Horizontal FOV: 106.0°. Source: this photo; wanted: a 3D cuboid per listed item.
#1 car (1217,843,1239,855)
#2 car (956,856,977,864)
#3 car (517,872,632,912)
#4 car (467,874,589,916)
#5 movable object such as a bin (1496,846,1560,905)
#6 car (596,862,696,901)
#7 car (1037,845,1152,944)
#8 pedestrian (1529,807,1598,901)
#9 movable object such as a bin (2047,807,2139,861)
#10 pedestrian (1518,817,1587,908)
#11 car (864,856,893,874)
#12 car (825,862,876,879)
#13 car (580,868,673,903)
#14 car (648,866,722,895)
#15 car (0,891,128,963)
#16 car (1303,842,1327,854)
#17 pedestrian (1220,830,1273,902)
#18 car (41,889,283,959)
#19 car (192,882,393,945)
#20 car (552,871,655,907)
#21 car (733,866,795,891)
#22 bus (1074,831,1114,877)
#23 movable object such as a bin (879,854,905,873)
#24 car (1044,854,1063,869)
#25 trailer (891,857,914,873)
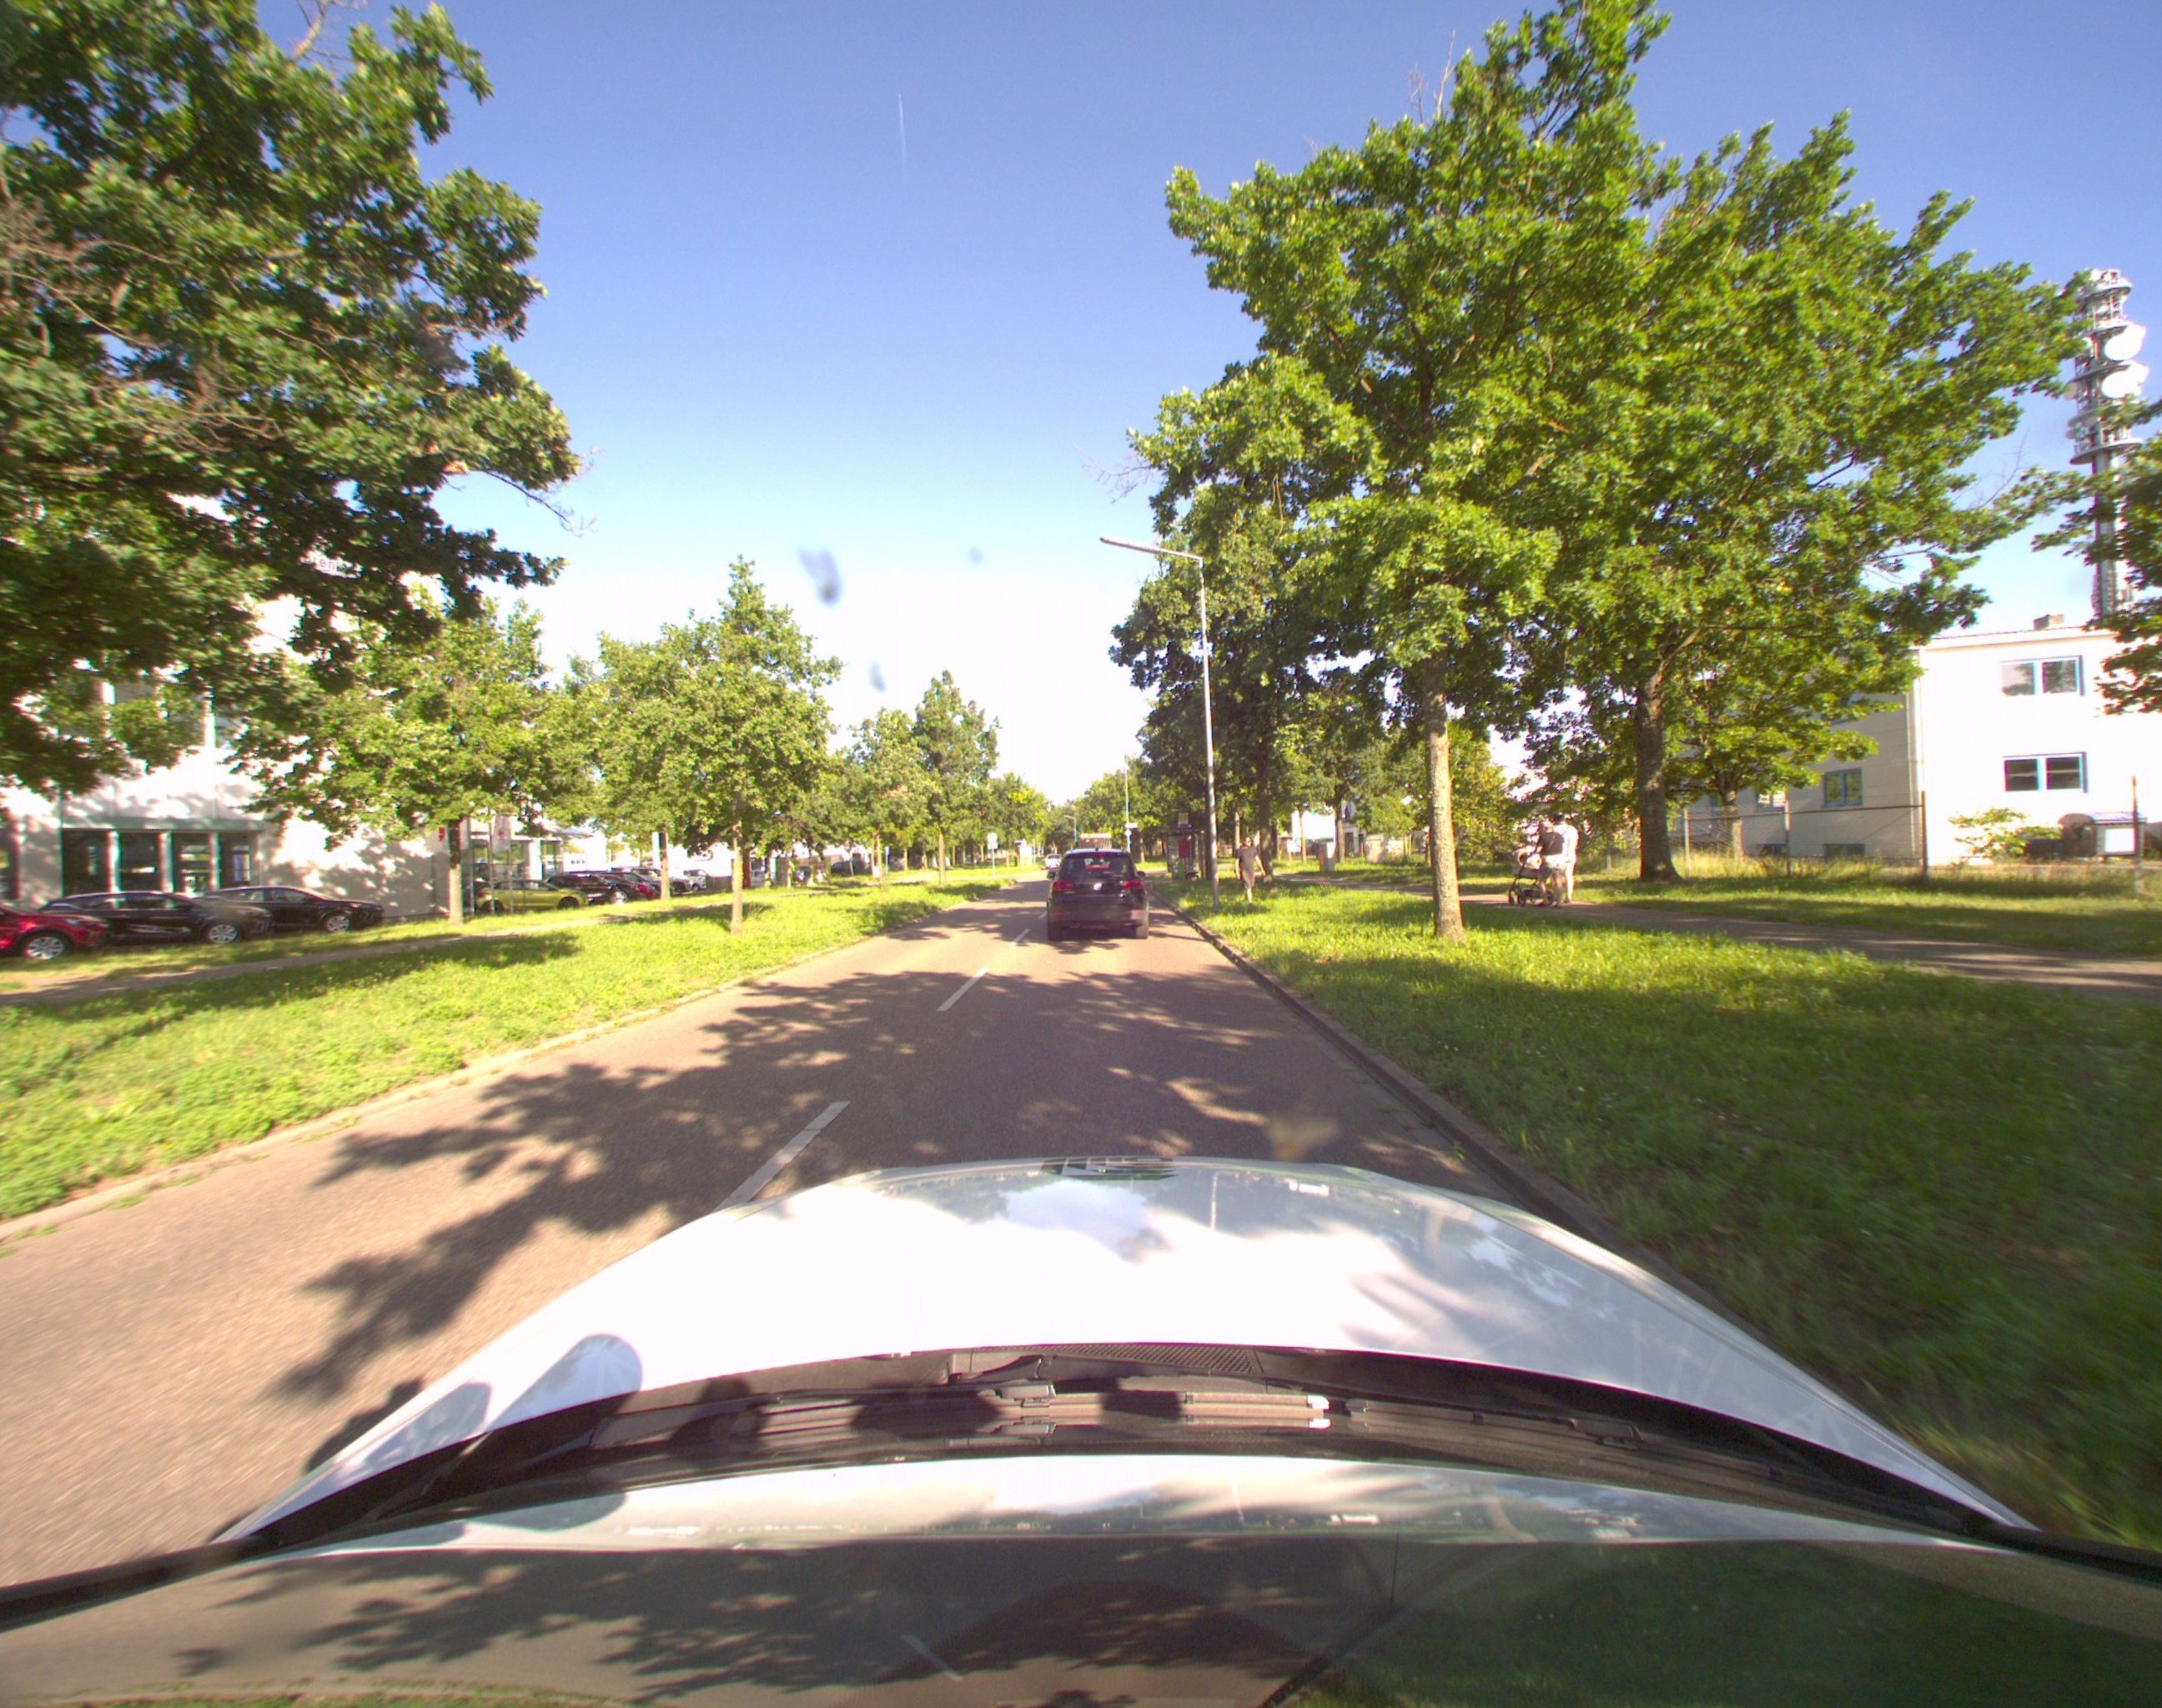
[{"bbox_3d":[22.572,-0.790,125.241,2.180,1.744,4.636,-2,0,-3],"label":"car"},{"bbox_3d":[-24.746,1.300,176.000,4.181,1.321,1.943,-2,0,3],"label":"car"},{"bbox_3d":[-23.000,1.689,37.056,4.192,1.538,1.874,-3,0,-40],"label":"car"},{"bbox_3d":[-22.943,1.662,33.848,3.974,1.401,1.976,-3,0,-40],"label":"car"},{"bbox_3d":[8.775,0.414,16.018,0.723,1.081,0.868,-4,0,1],"label":"movable object such as a bin"},{"bbox_3d":[-25.866,1.600,48.552,4.884,2.013,1.976,-3,0,-40],"label":"car"},{"bbox_3d":[0.298,0.669,16.091,1.929,1.656,4.429,-1,0,2],"label":"car"},{"bbox_3d":[9.473,0.004,16.025,0.723,1.755,0.868,-4,0,1],"label":"pedestrian"},{"bbox_3d":[28.042,-0.552,22.589,1.175,1.406,1.064,-3,0,18],"label":"movable object such as a bin"},{"bbox_3d":[8.743,0.156,15.140,0.723,1.603,0.868,-3,0,1],"label":"pedestrian"},{"bbox_3d":[-23.693,1.259,95.593,2.030,1.988,5.803,-3,0,-1],"label":"car"},{"bbox_3d":[-22.883,1.652,80.933,4.478,1.479,1.944,-3,0,5],"label":"car"},{"bbox_3d":[-24.286,1.652,43.613,4.183,1.562,1.981,-3,0,-30],"label":"car"},{"bbox_3d":[-29.759,1.979,61.204,4.970,1.906,1.950,-3,0,17],"label":"car"},{"bbox_3d":[-24.281,1.674,18.000,1.778,1.448,4.024,-3,0,44],"label":"car"},{"bbox_3d":[29.784,-0.745,103.874,1.761,1.383,3.762,-2,0,-4],"label":"car"},{"bbox_3d":[4.000,0.284,19.741,1.016,1.651,1.100,-3,0,1],"label":"pedestrian"},{"bbox_3d":[-24.134,1.773,21.643,4.022,1.448,1.779,-3,0,-41],"label":"car"},{"bbox_3d":[-23.906,1.760,24.903,4.010,1.511,1.785,-3,1,-28],"label":"car"},{"bbox_3d":[-23.629,1.702,40.359,4.190,1.491,1.977,-3,0,-38],"label":"car"},{"bbox_3d":[-23.253,1.795,59.766,3.717,1.618,1.970,-2,0,12],"label":"car"},{"bbox_3d":[0.962,-0.043,69.052,2.757,3.456,11.204,-2,0,-1],"label":"bus"},{"bbox_3d":[-23.577,1.165,101.740,2.096,2.217,4.459,-2,0,0],"label":"movable object such as a bin"},{"bbox_3d":[-2.845,0.736,82.793,1.740,1.465,4.421,-3,0,-4],"label":"car"},{"bbox_3d":[-23.814,1.435,108.869,2.096,1.914,3.740,-2,0,0],"label":"trailer"}]
